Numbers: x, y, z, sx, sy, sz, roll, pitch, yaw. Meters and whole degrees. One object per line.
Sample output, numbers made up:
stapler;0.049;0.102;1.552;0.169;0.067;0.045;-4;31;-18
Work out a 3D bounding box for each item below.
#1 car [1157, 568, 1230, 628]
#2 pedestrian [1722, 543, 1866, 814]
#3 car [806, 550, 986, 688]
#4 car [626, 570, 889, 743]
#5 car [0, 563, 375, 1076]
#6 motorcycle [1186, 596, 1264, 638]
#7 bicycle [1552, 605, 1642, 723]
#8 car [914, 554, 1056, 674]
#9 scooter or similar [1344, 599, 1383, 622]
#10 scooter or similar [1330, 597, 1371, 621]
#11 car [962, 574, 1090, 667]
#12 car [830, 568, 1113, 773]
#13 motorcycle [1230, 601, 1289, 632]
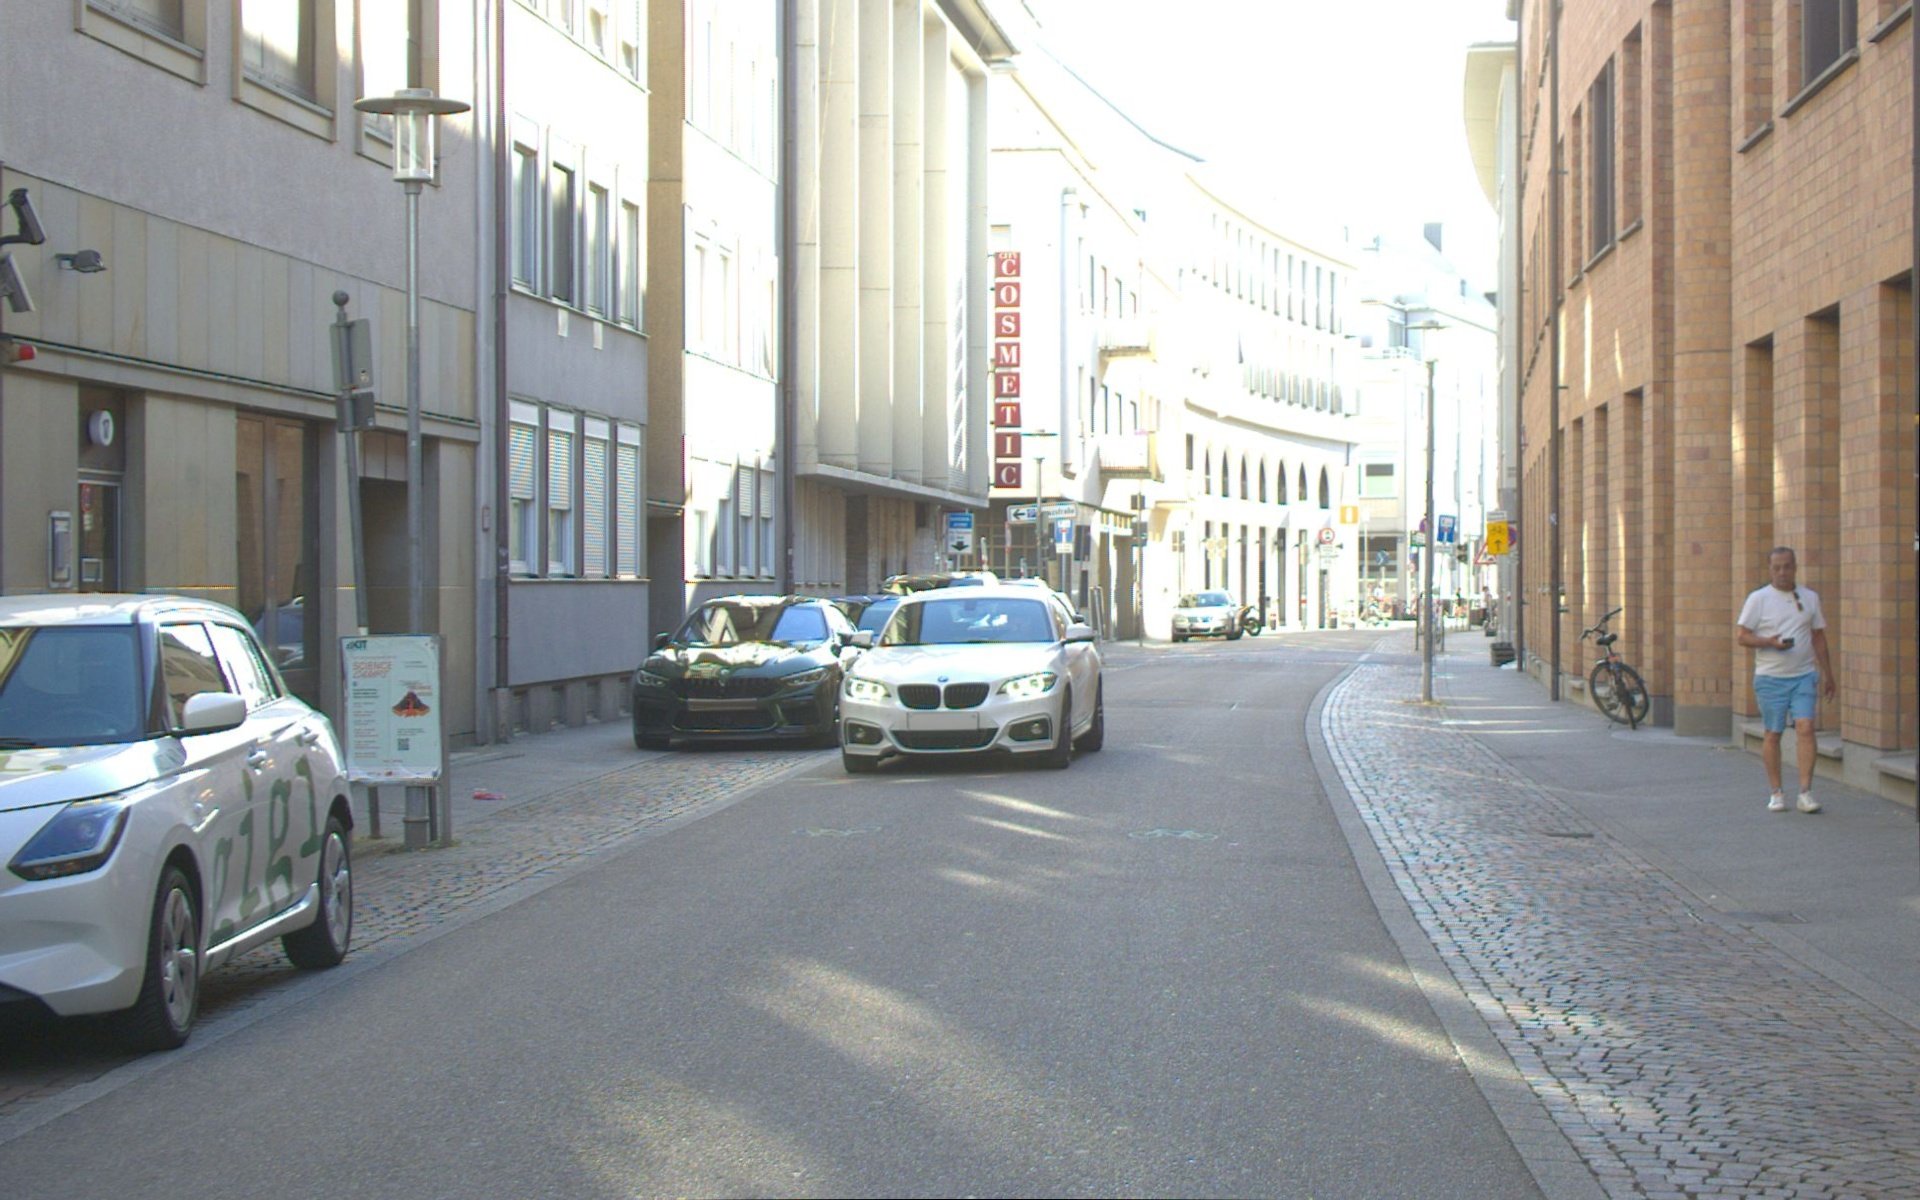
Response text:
car;6.666;-0.068;97.869;1.737;1.600;3.531;2;0;9
pedestrian;5.394;0.499;22.273;0.760;1.710;0.821;-1;0;4
car;-0.766;0.213;44.379;1.890;1.670;4.553;1;0;4
car;-1.854;0.485;32.977;1.890;1.525;4.728;1;0;4
car;-3.290;0.654;12.119;1.670;1.517;3.775;-1;0;2
motorcycle;8.363;0.528;108.489;2.391;1.313;0.862;0;0;8
bicycle;6.280;0.617;33.983;0.549;1.099;1.982;-2;0;2
car;0.425;0.188;52.479;1.890;1.736;4.390;1;0;4
scooter or similar;16.751;0.450;142.645;0.526;0.925;2.222;2;1;38
scooter or similar;15.728;0.382;138.569;0.526;0.925;2.222;2;1;38
car;1.135;0.329;57.204;1.649;1.455;3.998;-1;0;8
car;0.170;0.513;27.769;1.715;1.512;4.159;1;0;8
motorcycle;9.142;0.509;104.907;1.692;0.856;0.594;3;0;13
